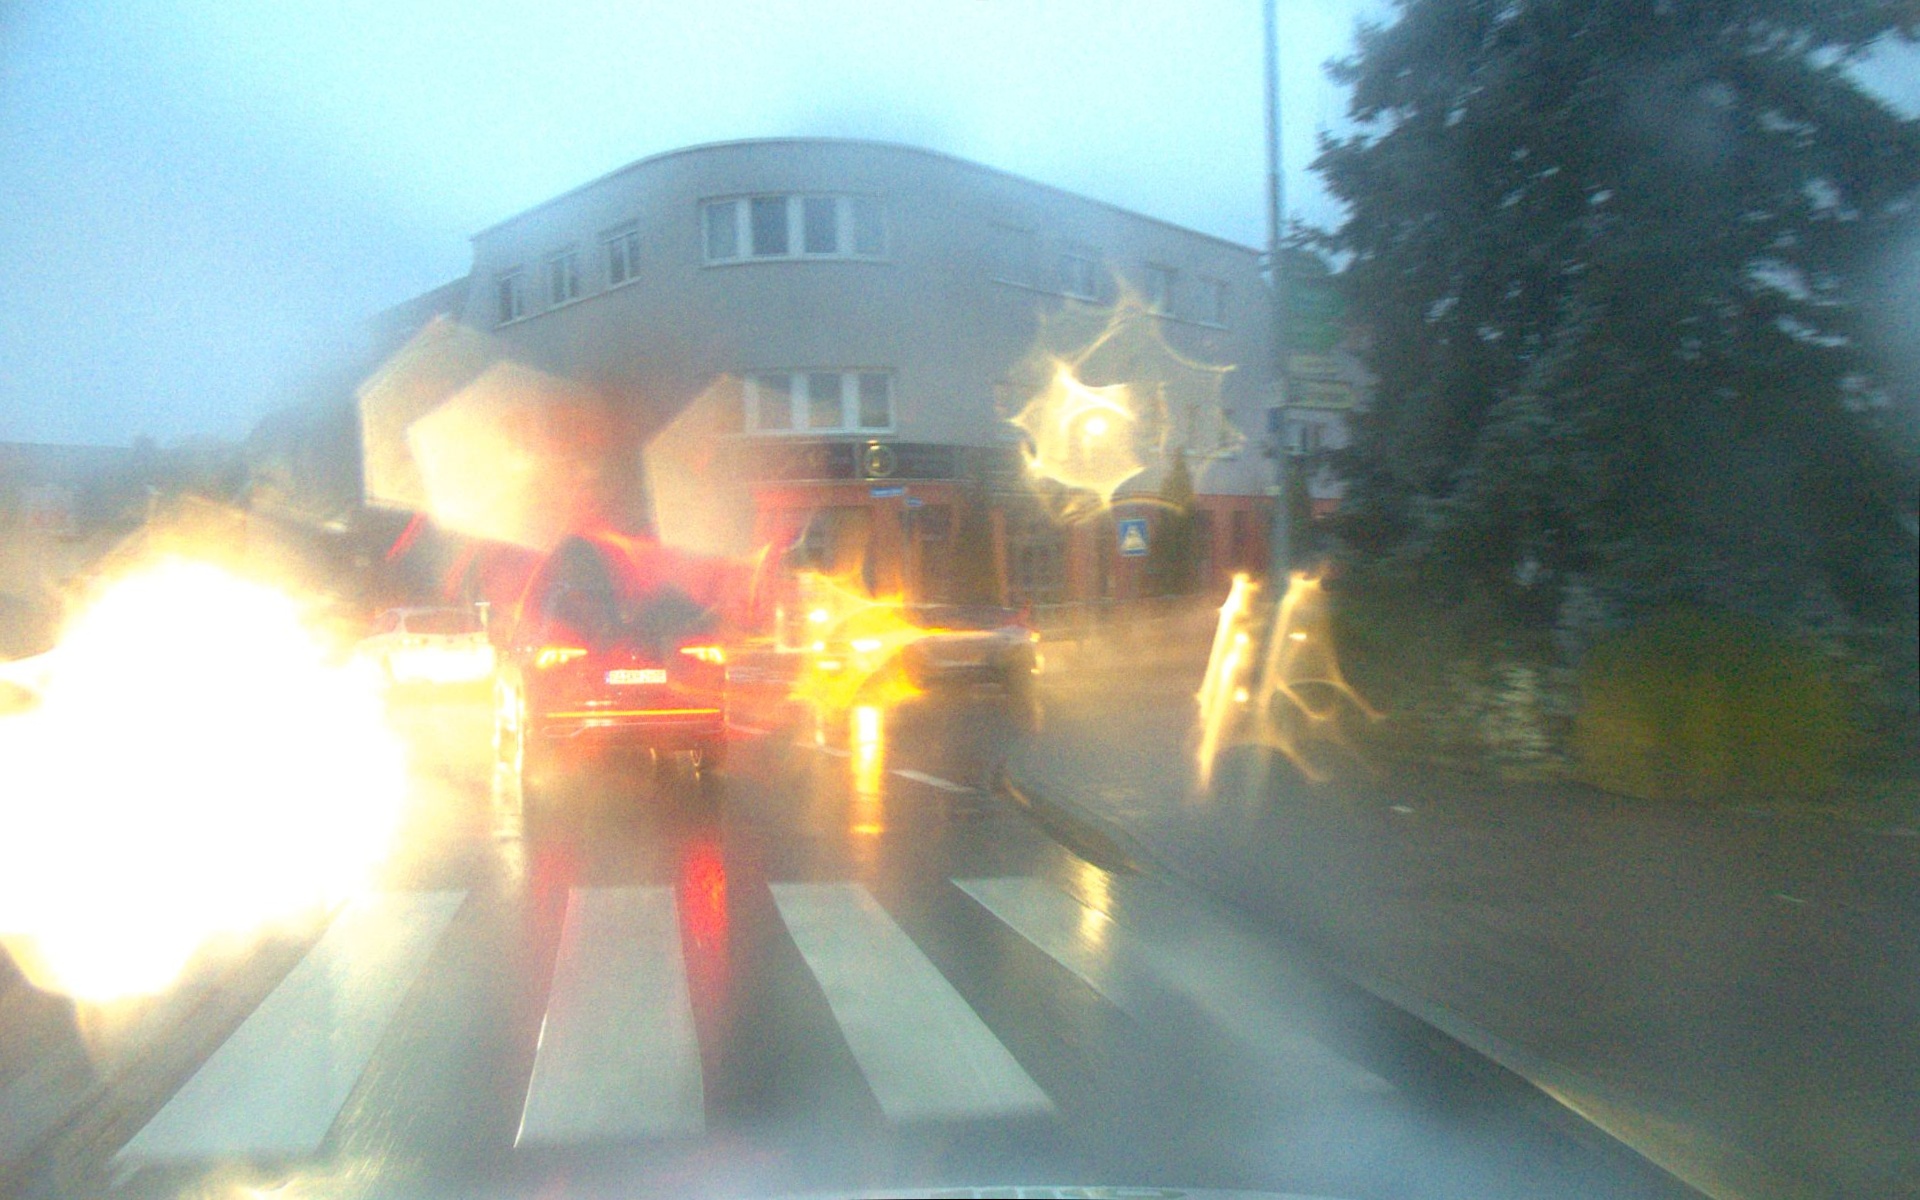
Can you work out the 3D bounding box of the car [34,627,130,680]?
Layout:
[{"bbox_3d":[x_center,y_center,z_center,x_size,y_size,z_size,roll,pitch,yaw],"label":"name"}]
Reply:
[{"bbox_3d":[-26.046,1.548,49.015,1.830,1.354,3.883,-4,2,-38],"label":"car"}]

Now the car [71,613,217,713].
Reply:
[{"bbox_3d":[-14.221,1.029,28.724,1.756,1.521,3.995,-2,1,-34],"label":"car"}]

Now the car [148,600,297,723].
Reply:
[{"bbox_3d":[-10.418,0.801,23.224,1.644,1.512,3.963,-2,0,-28],"label":"car"}]

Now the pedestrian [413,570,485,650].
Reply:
[{"bbox_3d":[-12.826,0.247,41.536,1.247,1.898,1.285,-5,2,-39],"label":"pedestrian"}]

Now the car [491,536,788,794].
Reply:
[{"bbox_3d":[-3.274,0.506,15.935,2.273,1.972,4.995,-3,1,-16],"label":"car"}]

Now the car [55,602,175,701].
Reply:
[{"bbox_3d":[-16.733,0.961,32.647,1.754,1.753,4.374,-2,1,-31],"label":"car"}]

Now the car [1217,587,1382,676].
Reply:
[{"bbox_3d":[7.525,0.680,36.388,2.007,1.819,4.113,-1,-1,37],"label":"car"}]

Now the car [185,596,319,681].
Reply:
[{"bbox_3d":[-18.584,0.990,43.277,2.290,1.972,4.959,-3,1,-34],"label":"car"}]

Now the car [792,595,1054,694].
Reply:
[{"bbox_3d":[-0.543,0.671,26.851,4.149,1.466,1.770,0,0,-42],"label":"car"}]

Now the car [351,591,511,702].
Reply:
[{"bbox_3d":[-8.969,0.718,27.854,1.837,1.676,3.961,-2,1,-29],"label":"car"}]
